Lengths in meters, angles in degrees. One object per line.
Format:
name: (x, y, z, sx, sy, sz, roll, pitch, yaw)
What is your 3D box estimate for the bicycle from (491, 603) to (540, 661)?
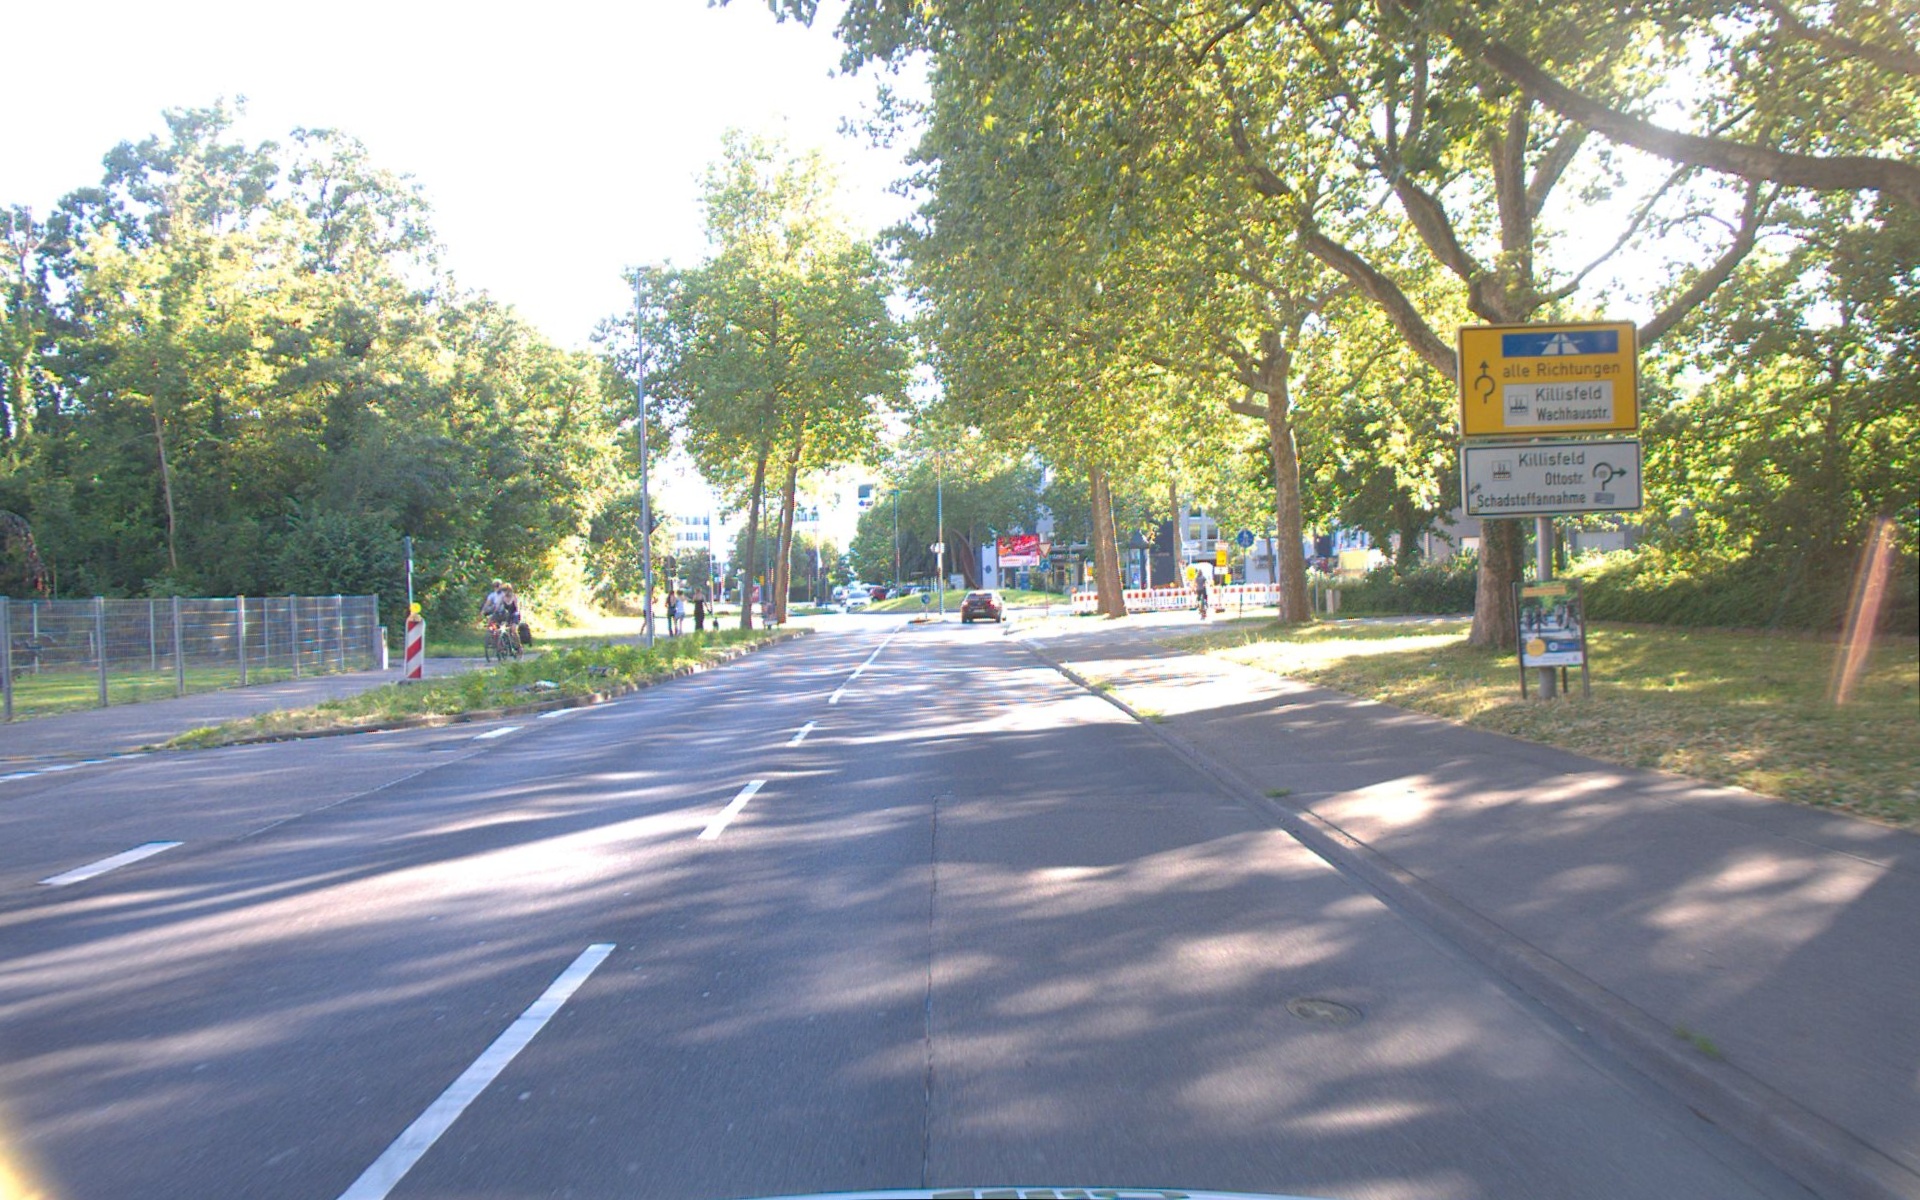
bicycle: (-10.221, 0.716, 38.088, 0.567, 1.267, 2.107, -2, 1, -2)

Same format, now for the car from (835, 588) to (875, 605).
car: (-11.261, -0.374, 177.484, 3.946, 1.777, 1.777, -1, 0, -31)

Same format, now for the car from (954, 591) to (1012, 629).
car: (1.076, 0.434, 74.477, 1.800, 1.633, 3.866, -2, 0, 13)

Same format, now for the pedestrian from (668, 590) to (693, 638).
pedestrian: (-9.703, 0.487, 57.413, 0.565, 1.666, 0.631, -2, 0, 39)

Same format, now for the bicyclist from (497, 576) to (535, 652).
bicyclist: (-10.233, 0.312, 38.113, 0.567, 1.709, 0.970, -2, 0, -2)

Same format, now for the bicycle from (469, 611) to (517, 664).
bicycle: (-11.279, 0.886, 39.973, 0.567, 1.206, 2.032, -3, 0, -2)

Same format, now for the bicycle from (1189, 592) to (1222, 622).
bicycle: (8.612, 0.249, 58.117, 0.754, 0.981, 2.174, -3, 0, -1)

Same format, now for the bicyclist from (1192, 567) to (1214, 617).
bicyclist: (8.584, -0.279, 58.482, 0.637, 1.735, 0.871, 0, 0, 0)

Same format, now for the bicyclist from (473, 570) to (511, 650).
bicyclist: (-11.306, 0.239, 39.958, 0.567, 1.863, 0.968, -3, 0, -2)

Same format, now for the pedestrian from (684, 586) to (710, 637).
pedestrian: (-9.353, 0.400, 58.911, 0.733, 1.769, 0.852, -2, 0, 1)

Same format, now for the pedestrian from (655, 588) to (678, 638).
pedestrian: (-10.447, 0.460, 58.889, 0.651, 1.769, 0.751, -2, 0, 1)

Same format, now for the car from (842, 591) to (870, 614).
car: (-7.475, 0.167, 118.880, 1.954, 1.606, 3.997, -2, 0, -4)

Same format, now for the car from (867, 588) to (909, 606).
car: (-7.258, -0.305, 167.212, 3.946, 1.777, 1.777, -1, 0, -31)

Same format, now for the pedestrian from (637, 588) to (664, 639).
pedestrian: (-10.774, 0.463, 57.537, 0.619, 1.769, 0.665, -2, 0, 20)
